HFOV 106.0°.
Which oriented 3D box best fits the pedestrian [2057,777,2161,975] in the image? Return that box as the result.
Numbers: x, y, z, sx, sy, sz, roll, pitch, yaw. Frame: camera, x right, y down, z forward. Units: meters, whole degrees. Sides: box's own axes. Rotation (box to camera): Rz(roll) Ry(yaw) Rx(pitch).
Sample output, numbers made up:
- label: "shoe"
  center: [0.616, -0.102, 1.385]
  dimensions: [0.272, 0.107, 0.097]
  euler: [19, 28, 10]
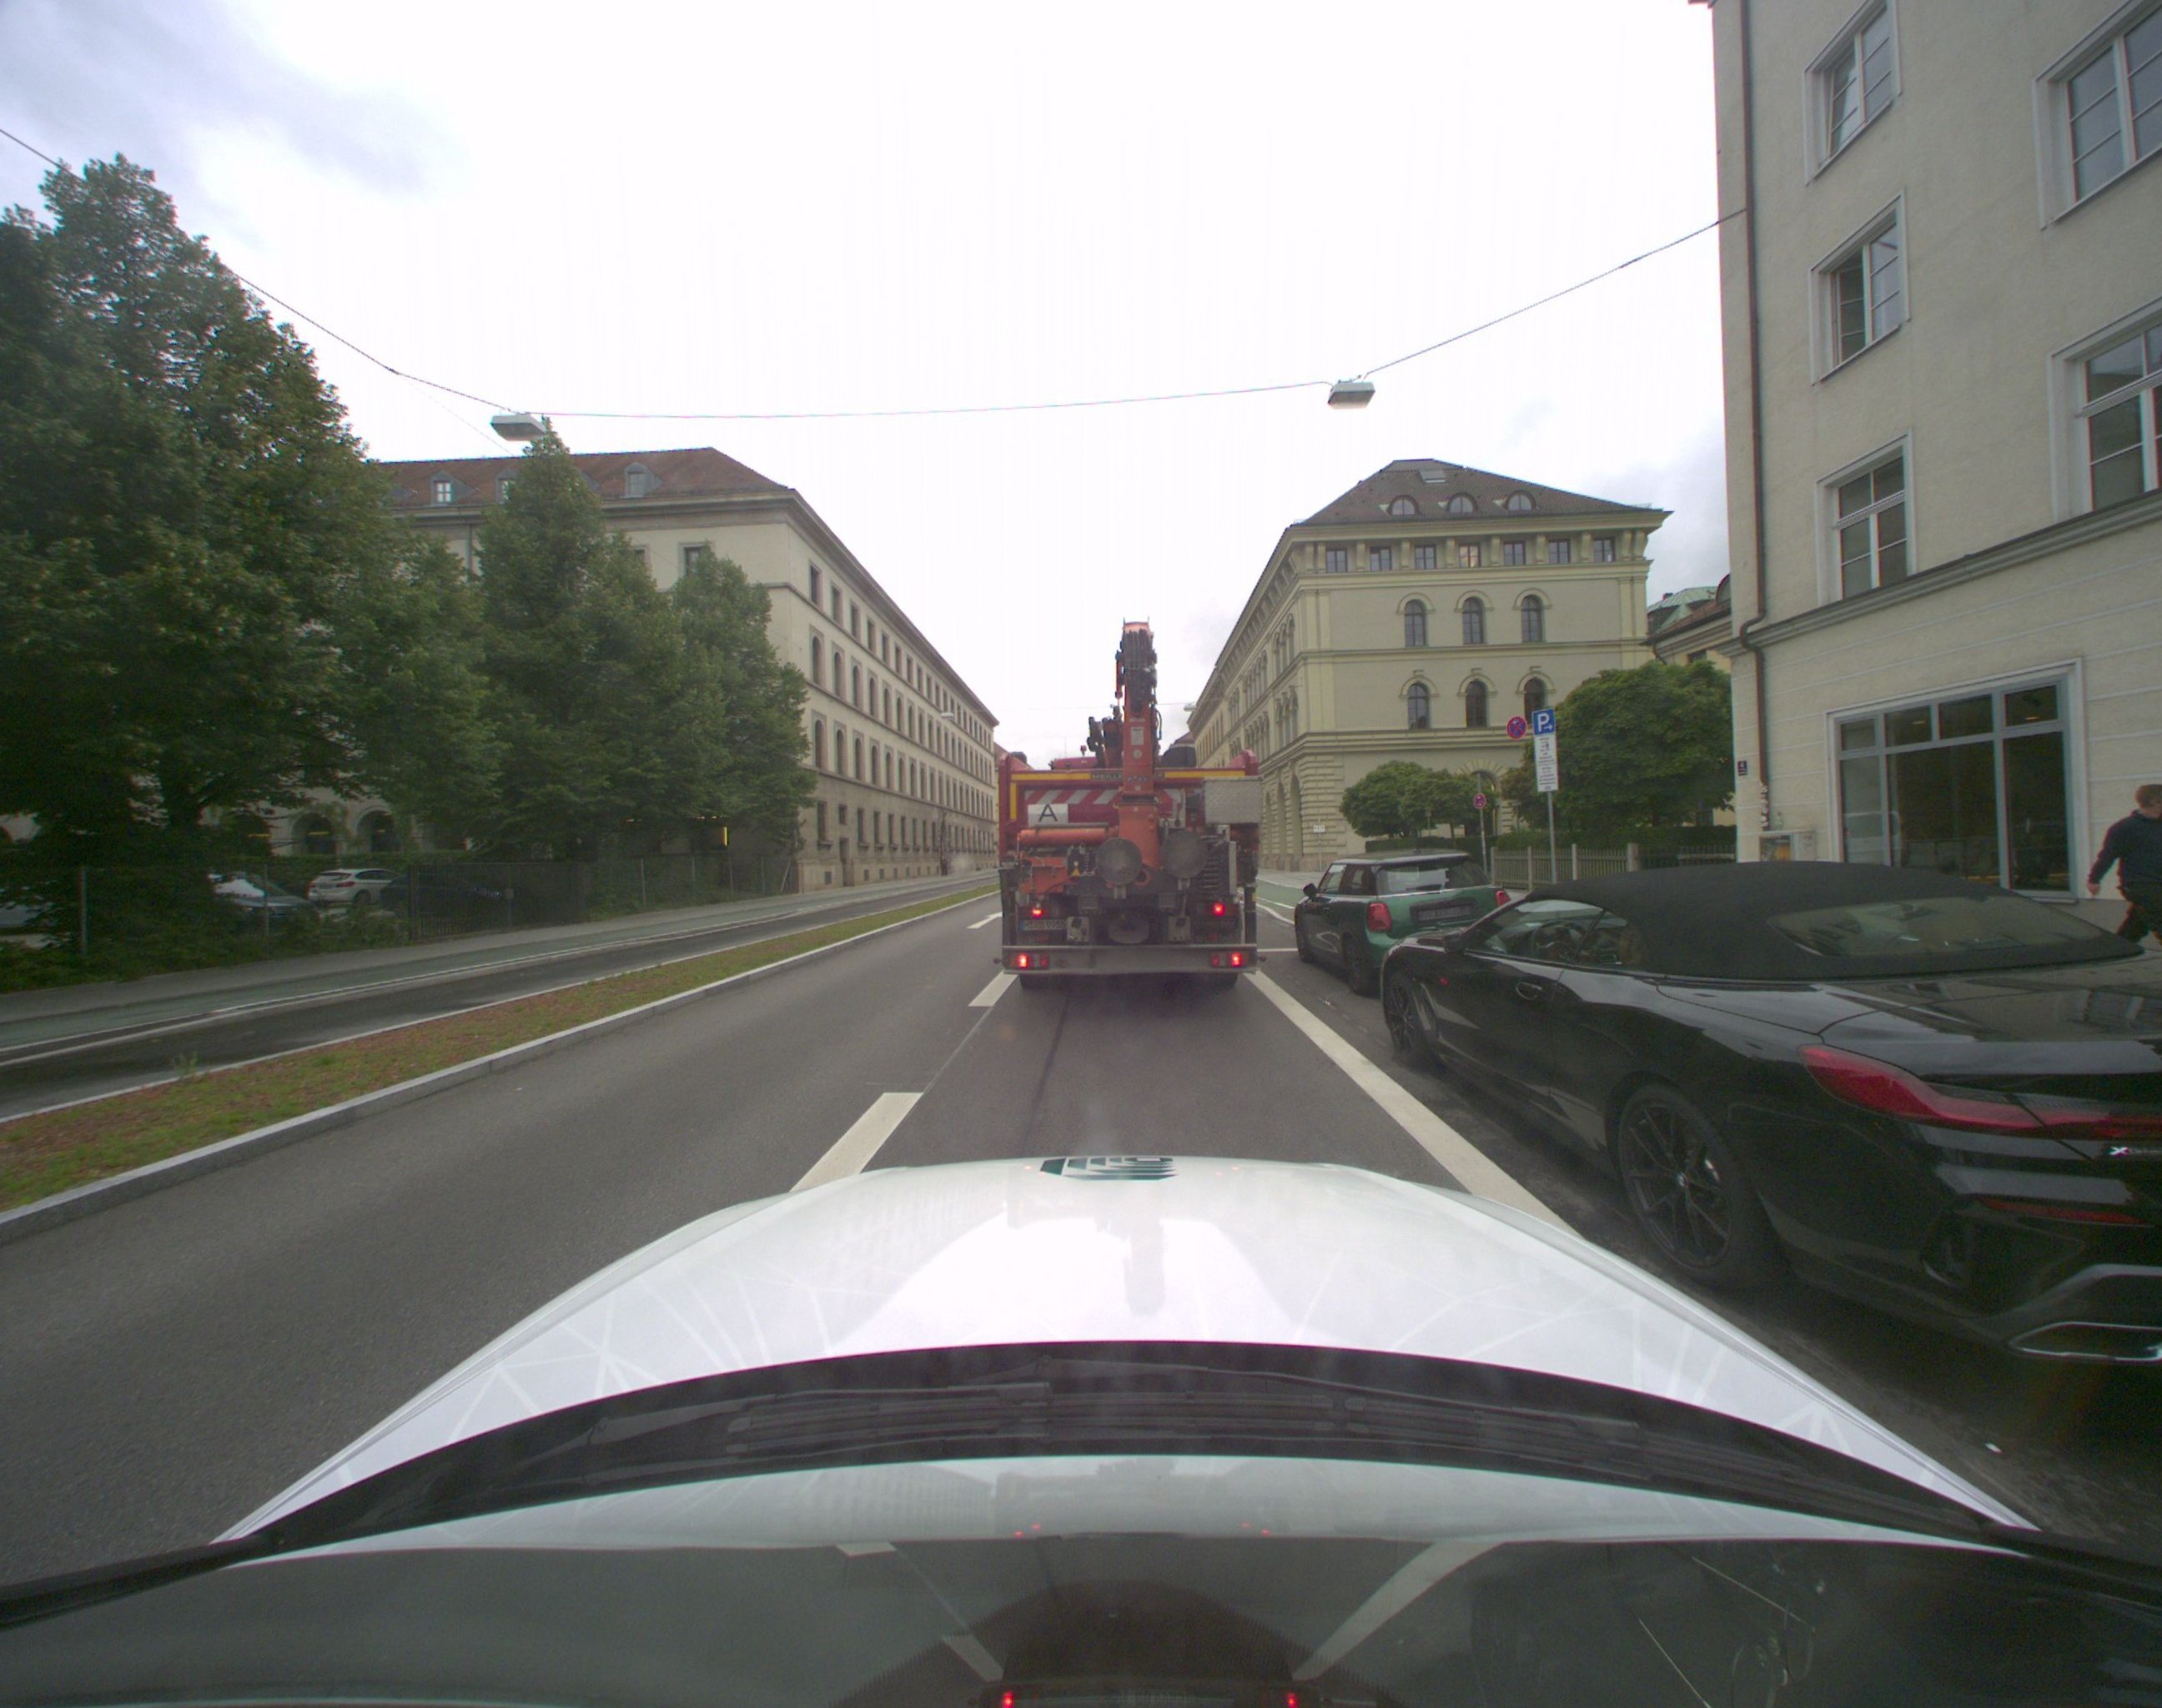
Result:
- label: "pedestrian"
  center: [10.377, 0.192, 7.923]
  dimensions: [0.787, 1.836, 0.778]
  euler: [-2, 0, 3]

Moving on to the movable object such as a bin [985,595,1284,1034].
- label: "movable object such as a bin"
  center: [0.522, -0.337, 9.733]
  dimensions: [2.414, 3.611, 5.853]
  euler: [-1, 0, 1]

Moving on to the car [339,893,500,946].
- label: "car"
  center: [-22.482, 2.205, 27.781]
  dimensions: [3.914, 1.545, 1.836]
  euler: [-1, 0, 0]

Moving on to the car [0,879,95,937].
- label: "car"
  center: [-31.373, 1.578, 23.025]
  dimensions: [1.824, 1.545, 4.178]
  euler: [-1, 0, 1]

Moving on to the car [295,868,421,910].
- label: "car"
  center: [-30.815, 1.442, 34.875]
  dimensions: [1.824, 1.545, 3.941]
  euler: [-1, 0, 1]

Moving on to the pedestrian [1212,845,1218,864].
- label: "pedestrian"
  center: [13.014, 0.048, 79.106]
  dimensions: [0.444, 1.836, 0.556]
  euler: [-2, 0, 3]

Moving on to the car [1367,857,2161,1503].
- label: "car"
  center: [2.947, 0.734, 4.010]
  dimensions: [1.673, 1.386, 4.429]
  euler: [-1, 0, 2]

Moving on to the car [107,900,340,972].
- label: "car"
  center: [-21.608, 2.047, 20.649]
  dimensions: [3.914, 1.545, 1.836]
  euler: [-1, 0, 0]

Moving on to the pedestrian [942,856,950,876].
- label: "pedestrian"
  center: [-12.292, 1.077, 74.282]
  dimensions: [0.586, 1.831, 0.499]
  euler: [-1, 0, 1]

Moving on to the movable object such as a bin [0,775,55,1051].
- label: "movable object such as a bin"
  center: [-10.884, 0.582, 5.746]
  dimensions: [1.996, 2.641, 4.645]
  euler: [-2, 0, -13]

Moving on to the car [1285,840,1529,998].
- label: "car"
  center: [3.624, 0.637, 9.702]
  dimensions: [1.604, 1.495, 3.426]
  euler: [-2, 0, 2]
